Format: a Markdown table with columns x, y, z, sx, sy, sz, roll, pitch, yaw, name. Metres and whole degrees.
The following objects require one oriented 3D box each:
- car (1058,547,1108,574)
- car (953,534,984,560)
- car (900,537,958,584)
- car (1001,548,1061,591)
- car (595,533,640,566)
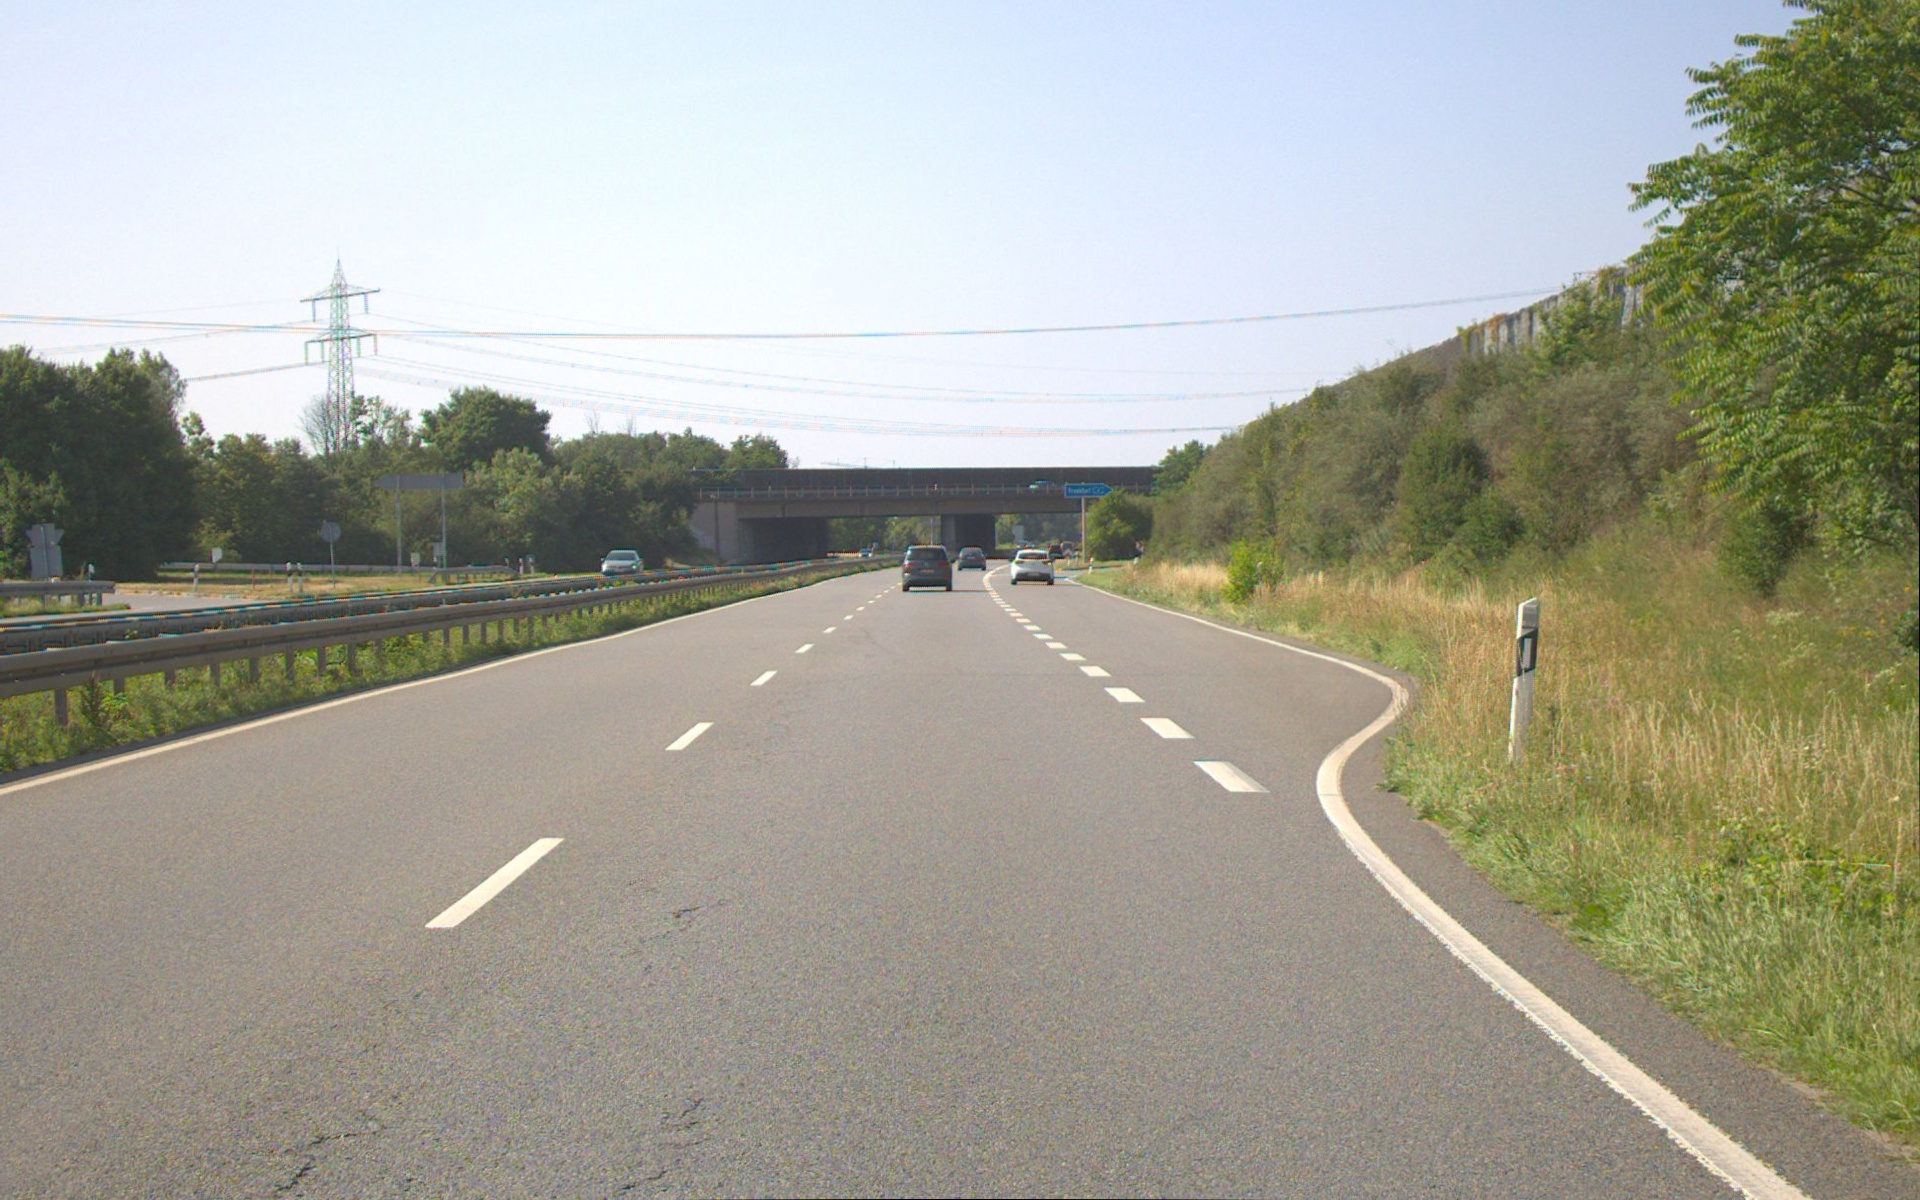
| x | y | z | sx | sy | sz | roll | pitch | yaw | name |
| --- | --- | --- | --- | --- | --- | --- | --- | --- | --- |
| 6.352 | -2.027 | 176.975 | 1.903 | 1.293 | 3.998 | 2 | 1 | 11 | car |
| 0.544 | -3.425 | 221.051 | 1.850 | 1.639 | 4.000 | 0 | 1 | 2 | car |
| -1.089 | -1.415 | 122.662 | 1.850 | 1.639 | 4.000 | 0 | 1 | 2 | car |
| 2.958 | -1.287 | 142.202 | 1.797 | 1.659 | 3.998 | 2 | 1 | 10 | car |
| -16.585 | -2.451 | 166.483 | 1.700 | 1.480 | 4.620 | 2 | 1 | -1 | car |
